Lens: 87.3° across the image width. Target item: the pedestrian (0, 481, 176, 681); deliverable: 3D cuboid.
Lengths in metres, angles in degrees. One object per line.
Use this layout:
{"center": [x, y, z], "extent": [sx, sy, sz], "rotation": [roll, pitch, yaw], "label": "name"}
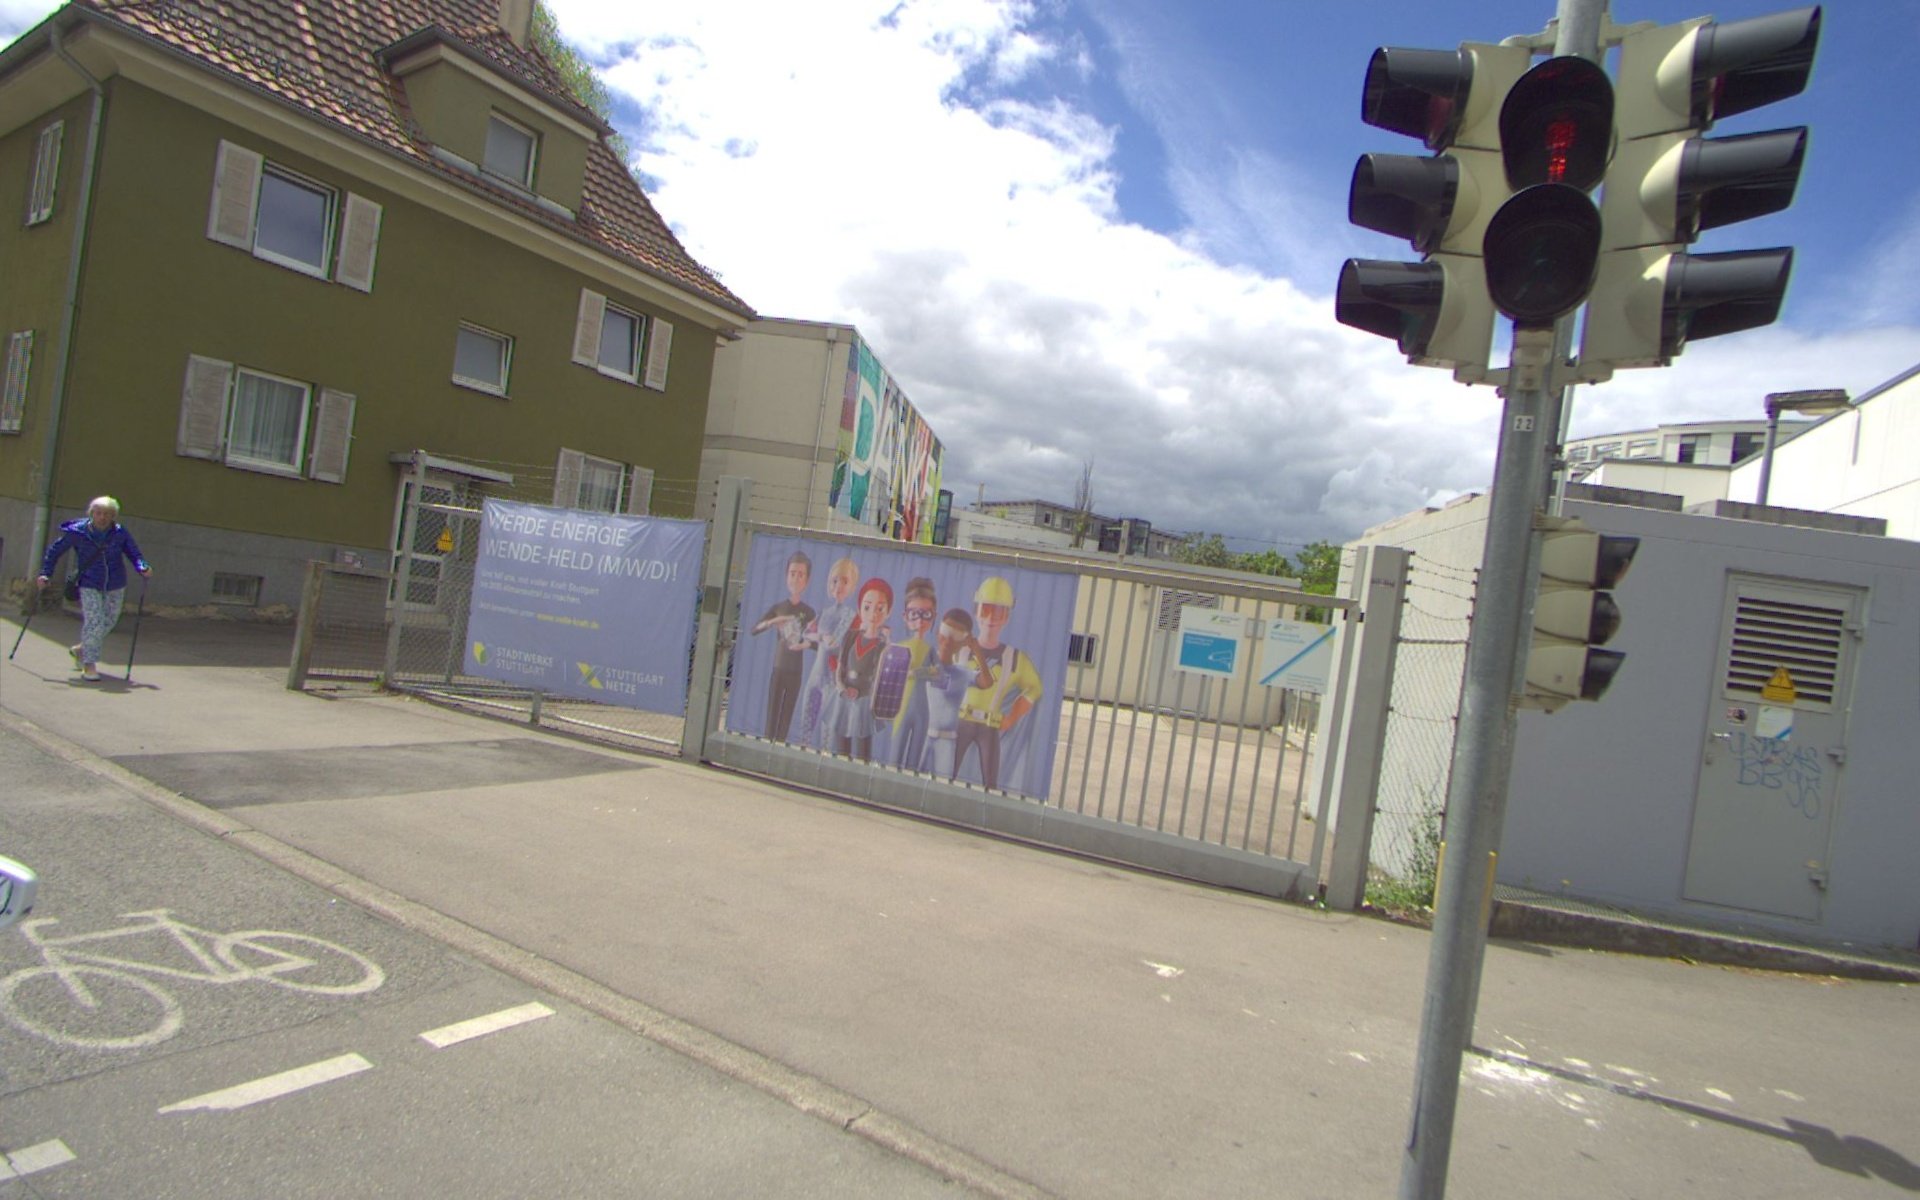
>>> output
{"center": [-7.630, -0.152, 8.782], "extent": [0.971, 1.592, 0.825], "rotation": [7, 1, 30], "label": "pedestrian"}
